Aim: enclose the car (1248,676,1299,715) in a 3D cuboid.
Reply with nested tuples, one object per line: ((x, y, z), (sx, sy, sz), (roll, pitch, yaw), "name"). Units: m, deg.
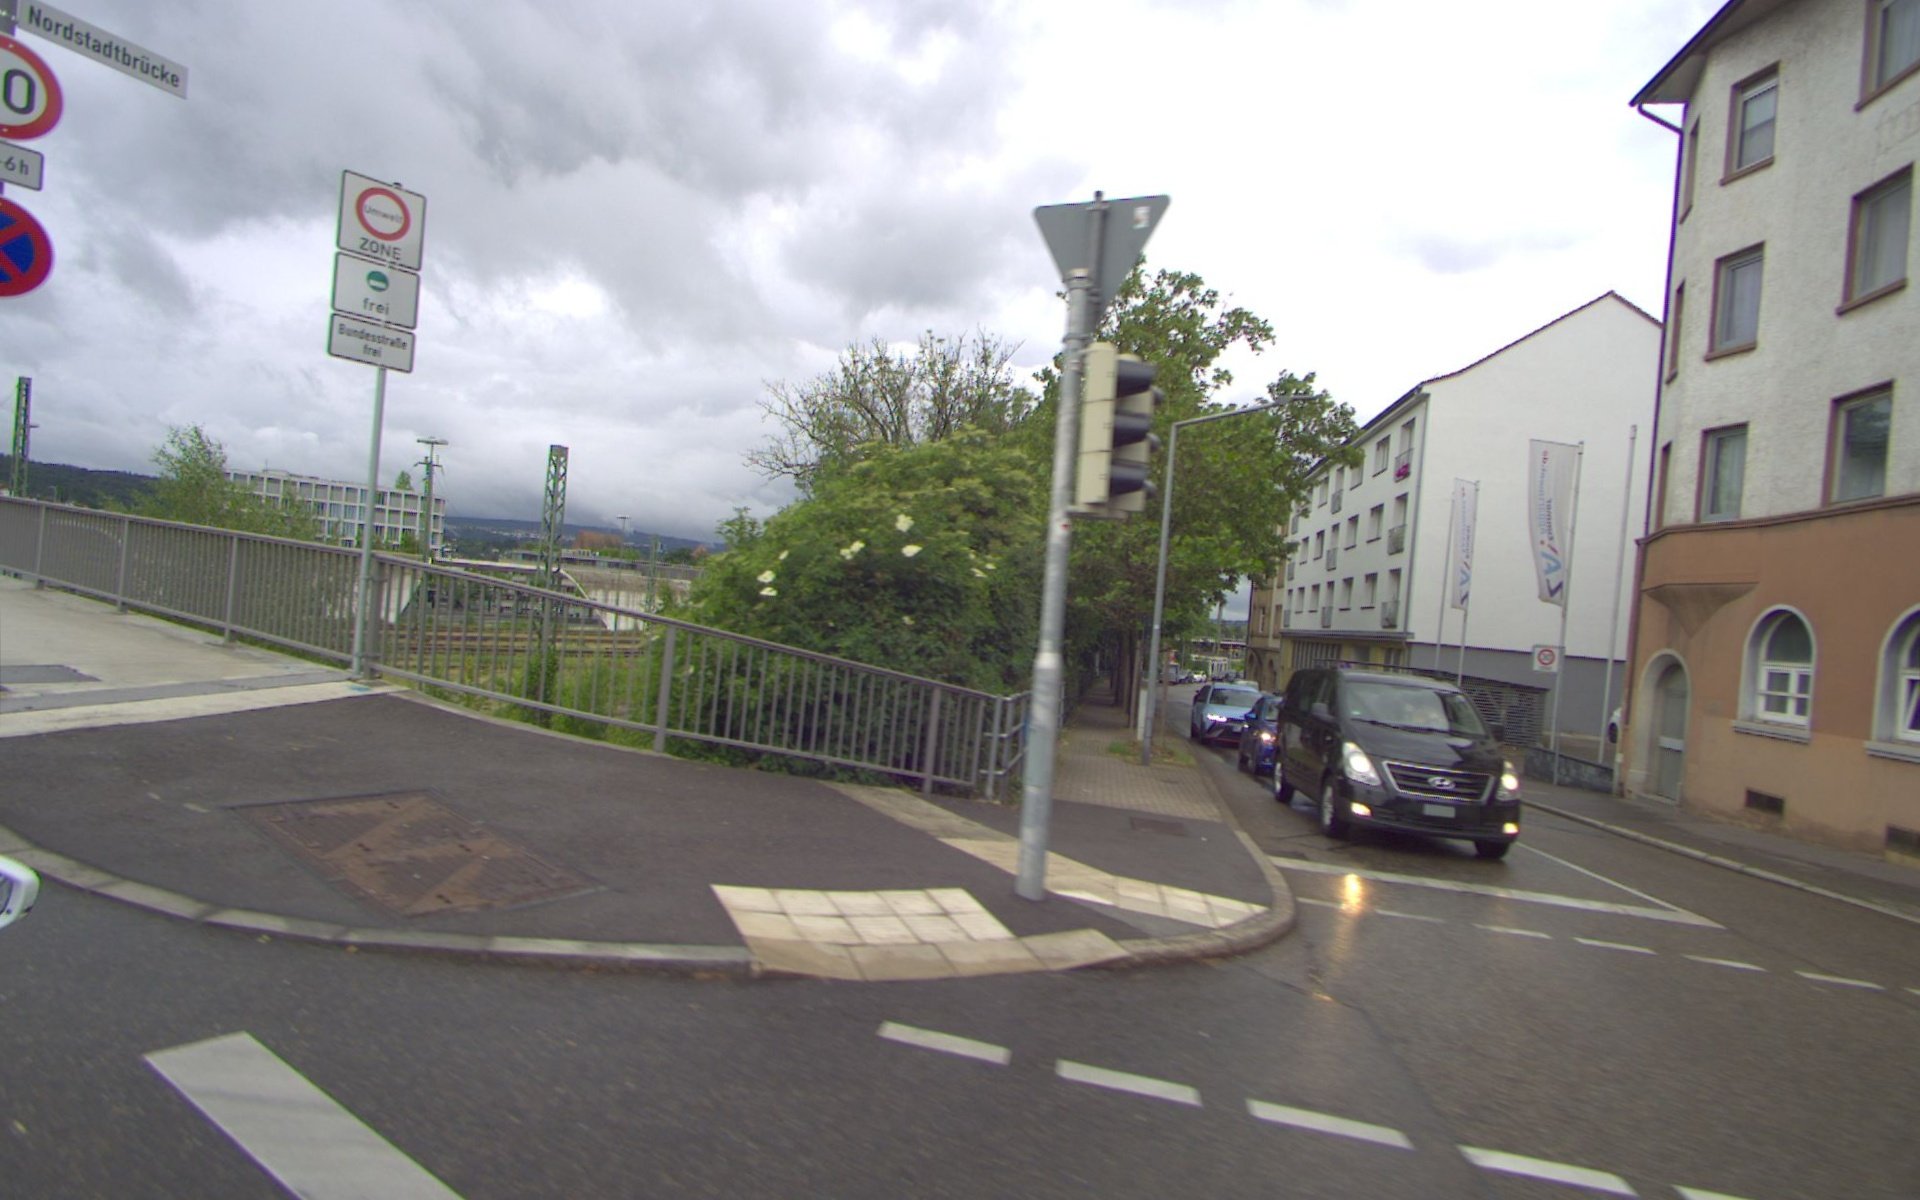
((16.277, 4.921, 52.352), (1.725, 1.593, 4.002), (4, -1, 7), "car")

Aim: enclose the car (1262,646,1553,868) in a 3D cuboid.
((5.239, 1.745, 12.583), (1.961, 2.036, 4.766), (5, -3, 9), "car")

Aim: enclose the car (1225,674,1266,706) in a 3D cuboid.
((17.581, 5.515, 62.172), (1.725, 1.593, 4.002), (4, -1, 7), "car")

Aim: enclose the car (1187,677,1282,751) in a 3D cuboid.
((7.303, 2.989, 27.138), (1.868, 1.630, 4.349), (4, -3, 9), "car")

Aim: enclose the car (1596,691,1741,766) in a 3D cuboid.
((22.569, 4.051, 32.279), (1.961, 1.574, 3.994), (4, 4, 6), "car")

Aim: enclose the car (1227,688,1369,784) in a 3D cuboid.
((6.586, 2.601, 20.099), (1.868, 1.451, 4.349), (4, -3, 9), "car")
